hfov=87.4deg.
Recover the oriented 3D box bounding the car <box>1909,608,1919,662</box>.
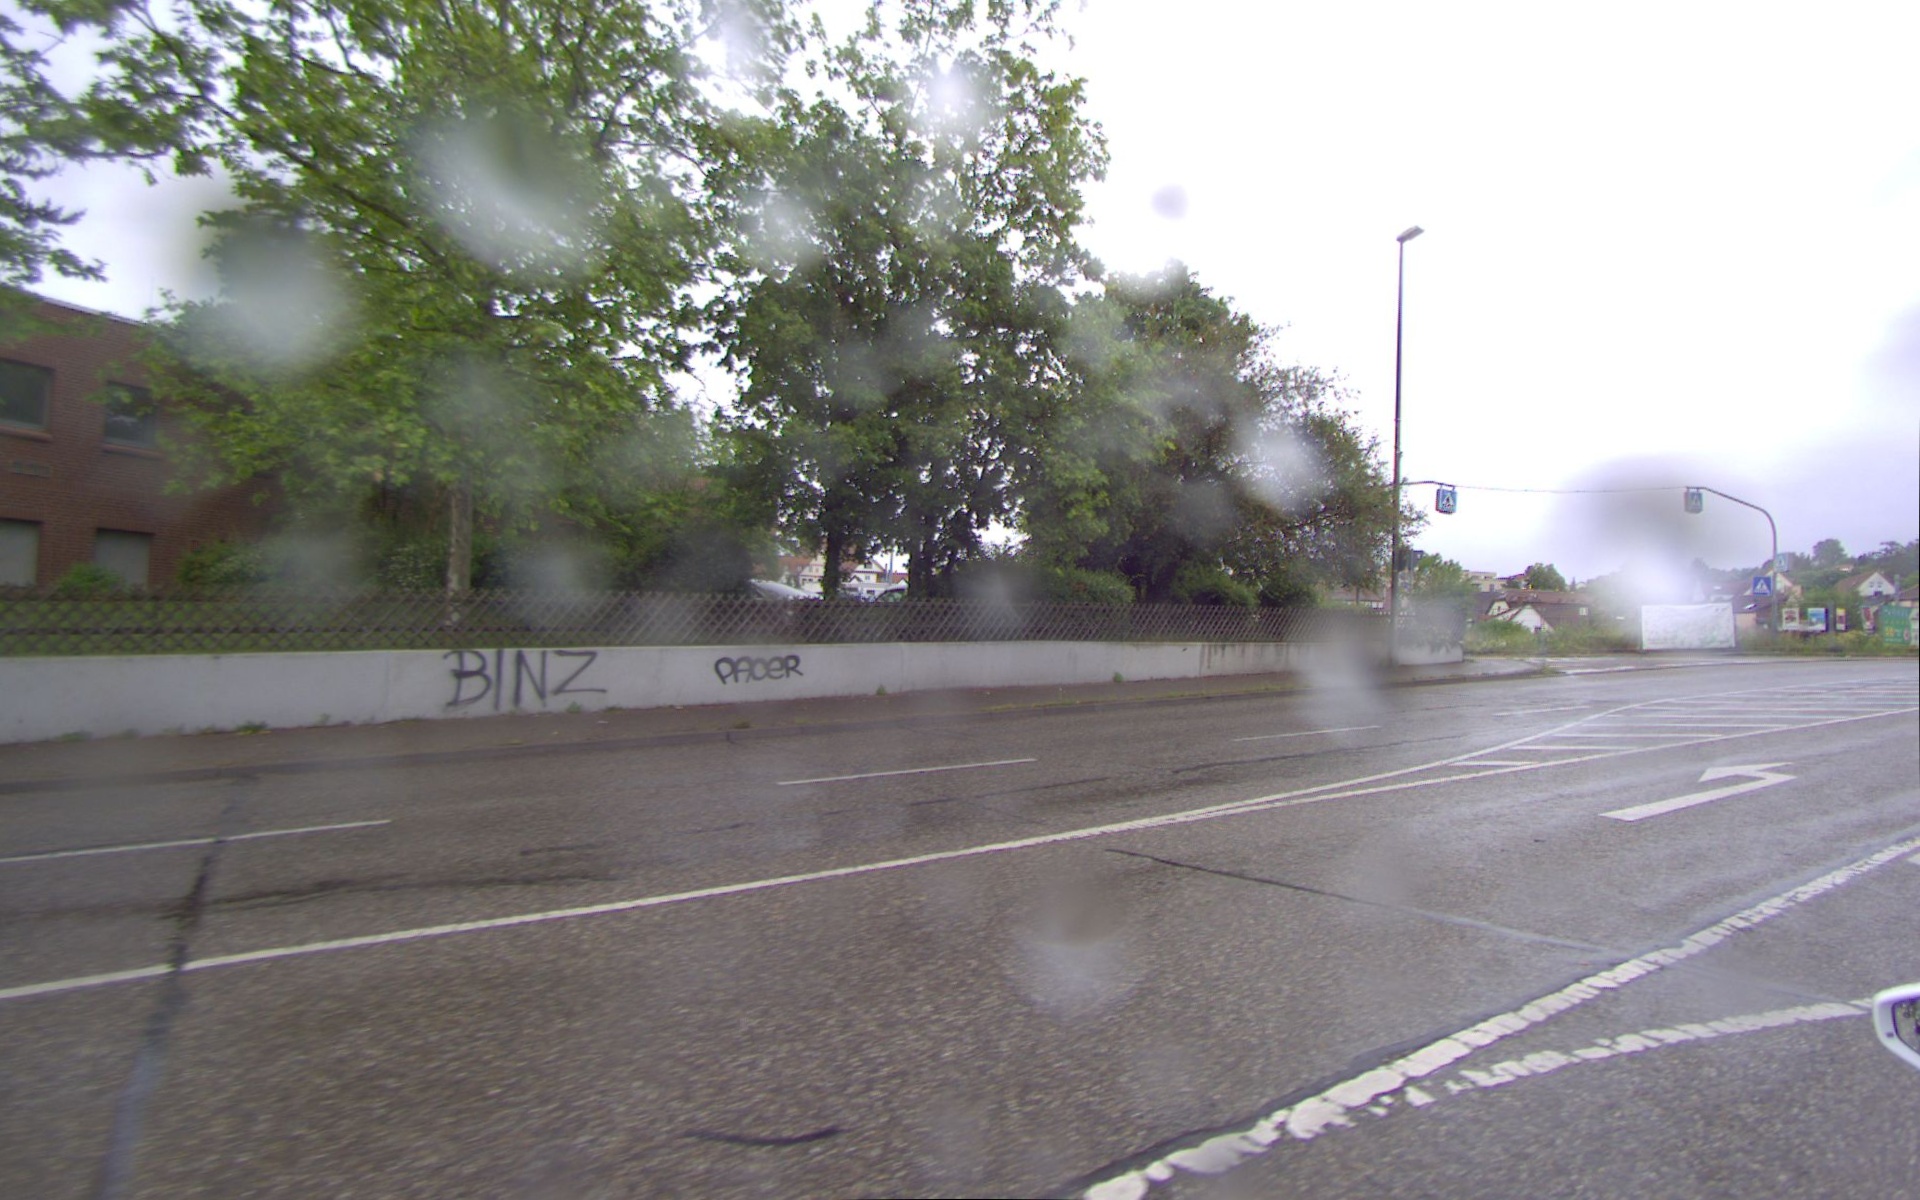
[{"bbox_3d":[33.063,1.206,31.979,4.627,1.715,1.994,2,0,-15],"label":"car"}]
